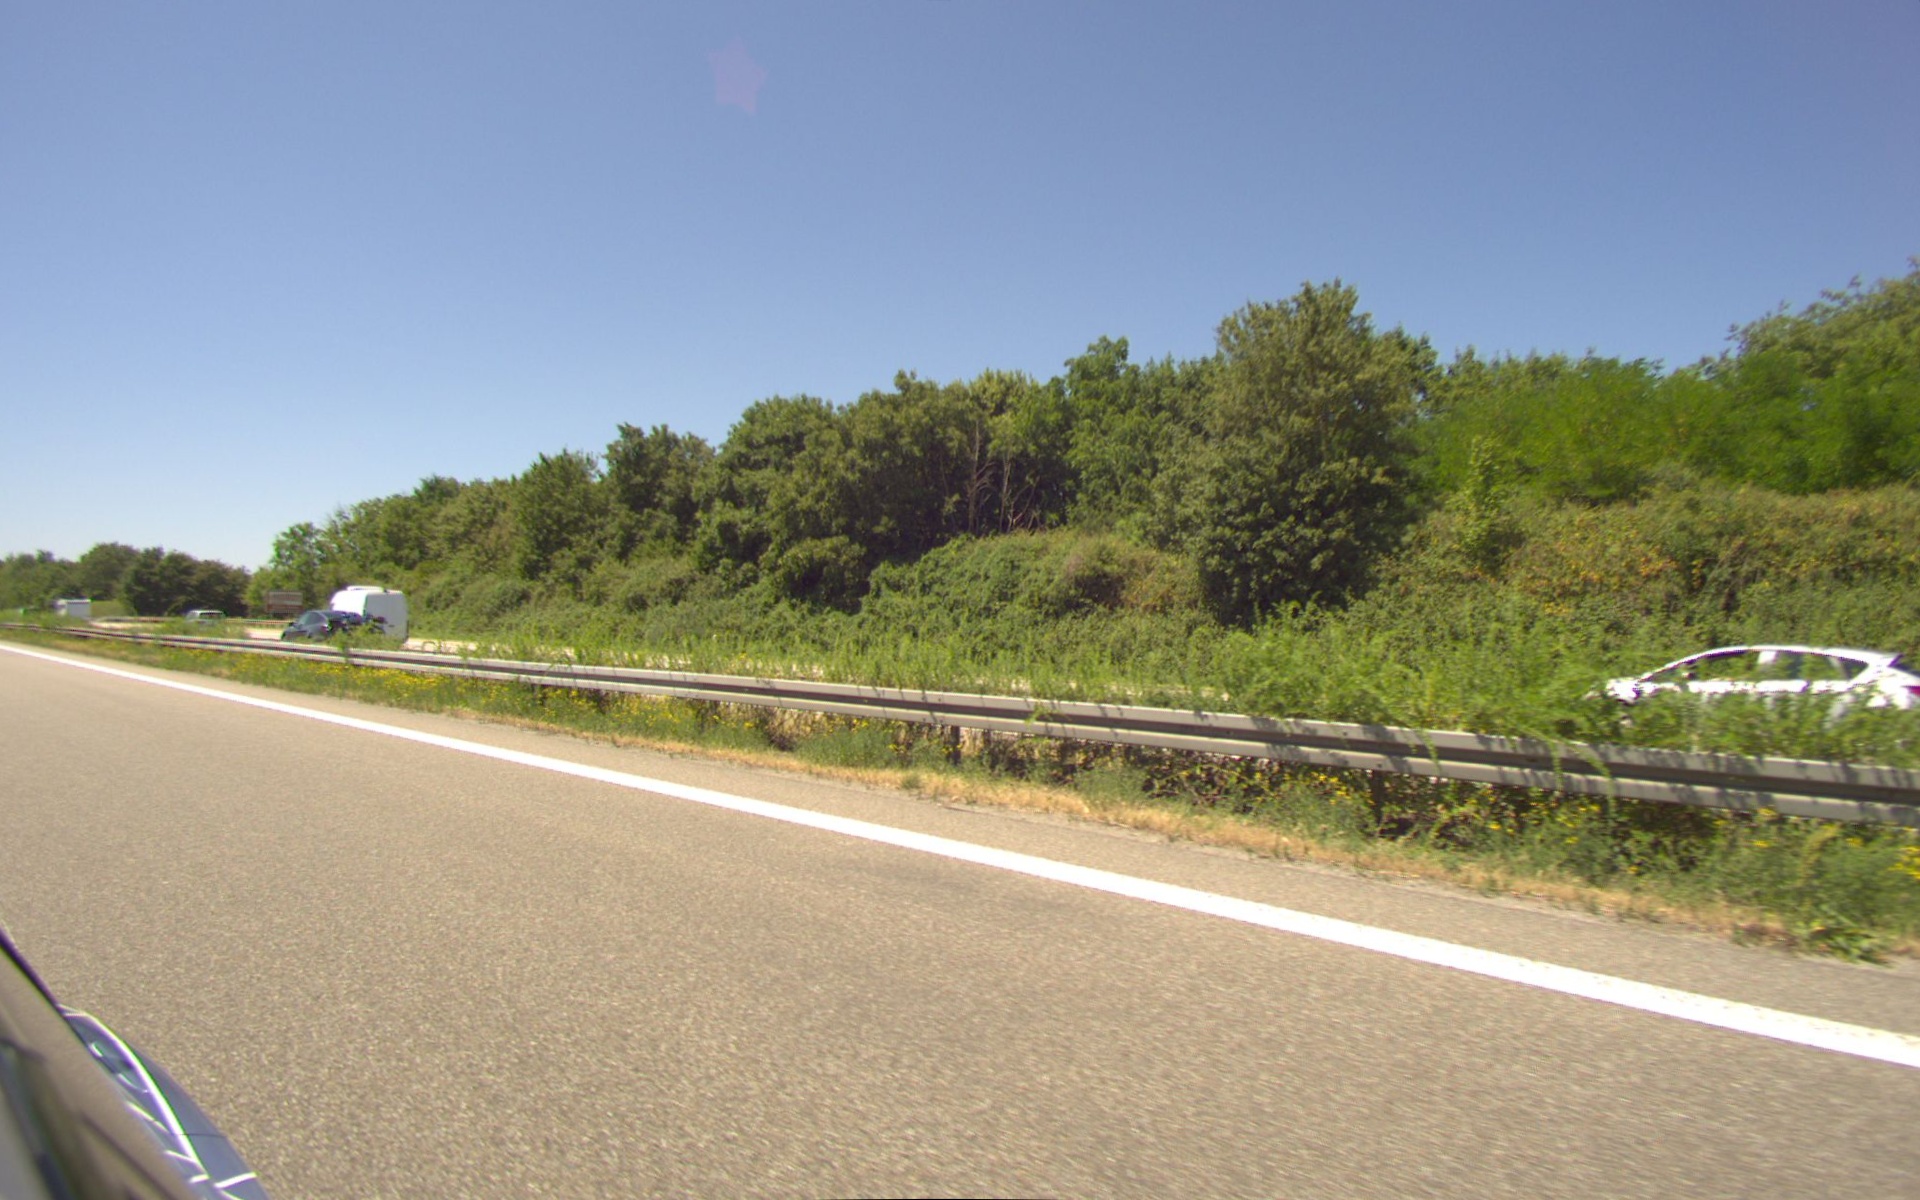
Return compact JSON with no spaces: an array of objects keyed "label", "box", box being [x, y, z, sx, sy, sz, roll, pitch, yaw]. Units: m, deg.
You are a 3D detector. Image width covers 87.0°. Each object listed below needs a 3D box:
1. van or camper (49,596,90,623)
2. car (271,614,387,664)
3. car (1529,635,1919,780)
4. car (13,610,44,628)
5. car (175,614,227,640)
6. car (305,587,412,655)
[{"label":"van or camper","box":[-102.144,1.152,116.062,7.753,3.026,2.579,-1,-1,41]},{"label":"car","box":[-21.529,1.298,34.452,5.042,1.579,1.973,-1,-2,41]},{"label":"car","box":[10.258,1.294,13.401,4.447,1.519,1.920,-1,0,41]},{"label":"car","box":[-115.834,2.351,125.783,5.943,2.203,2.258,-1,-1,41]},{"label":"car","box":[-47.127,1.663,62.791,4.414,1.519,1.724,-1,0,41]},{"label":"car","box":[-26.631,0.931,44.656,6.655,2.767,2.014,-1,-3,41]}]
